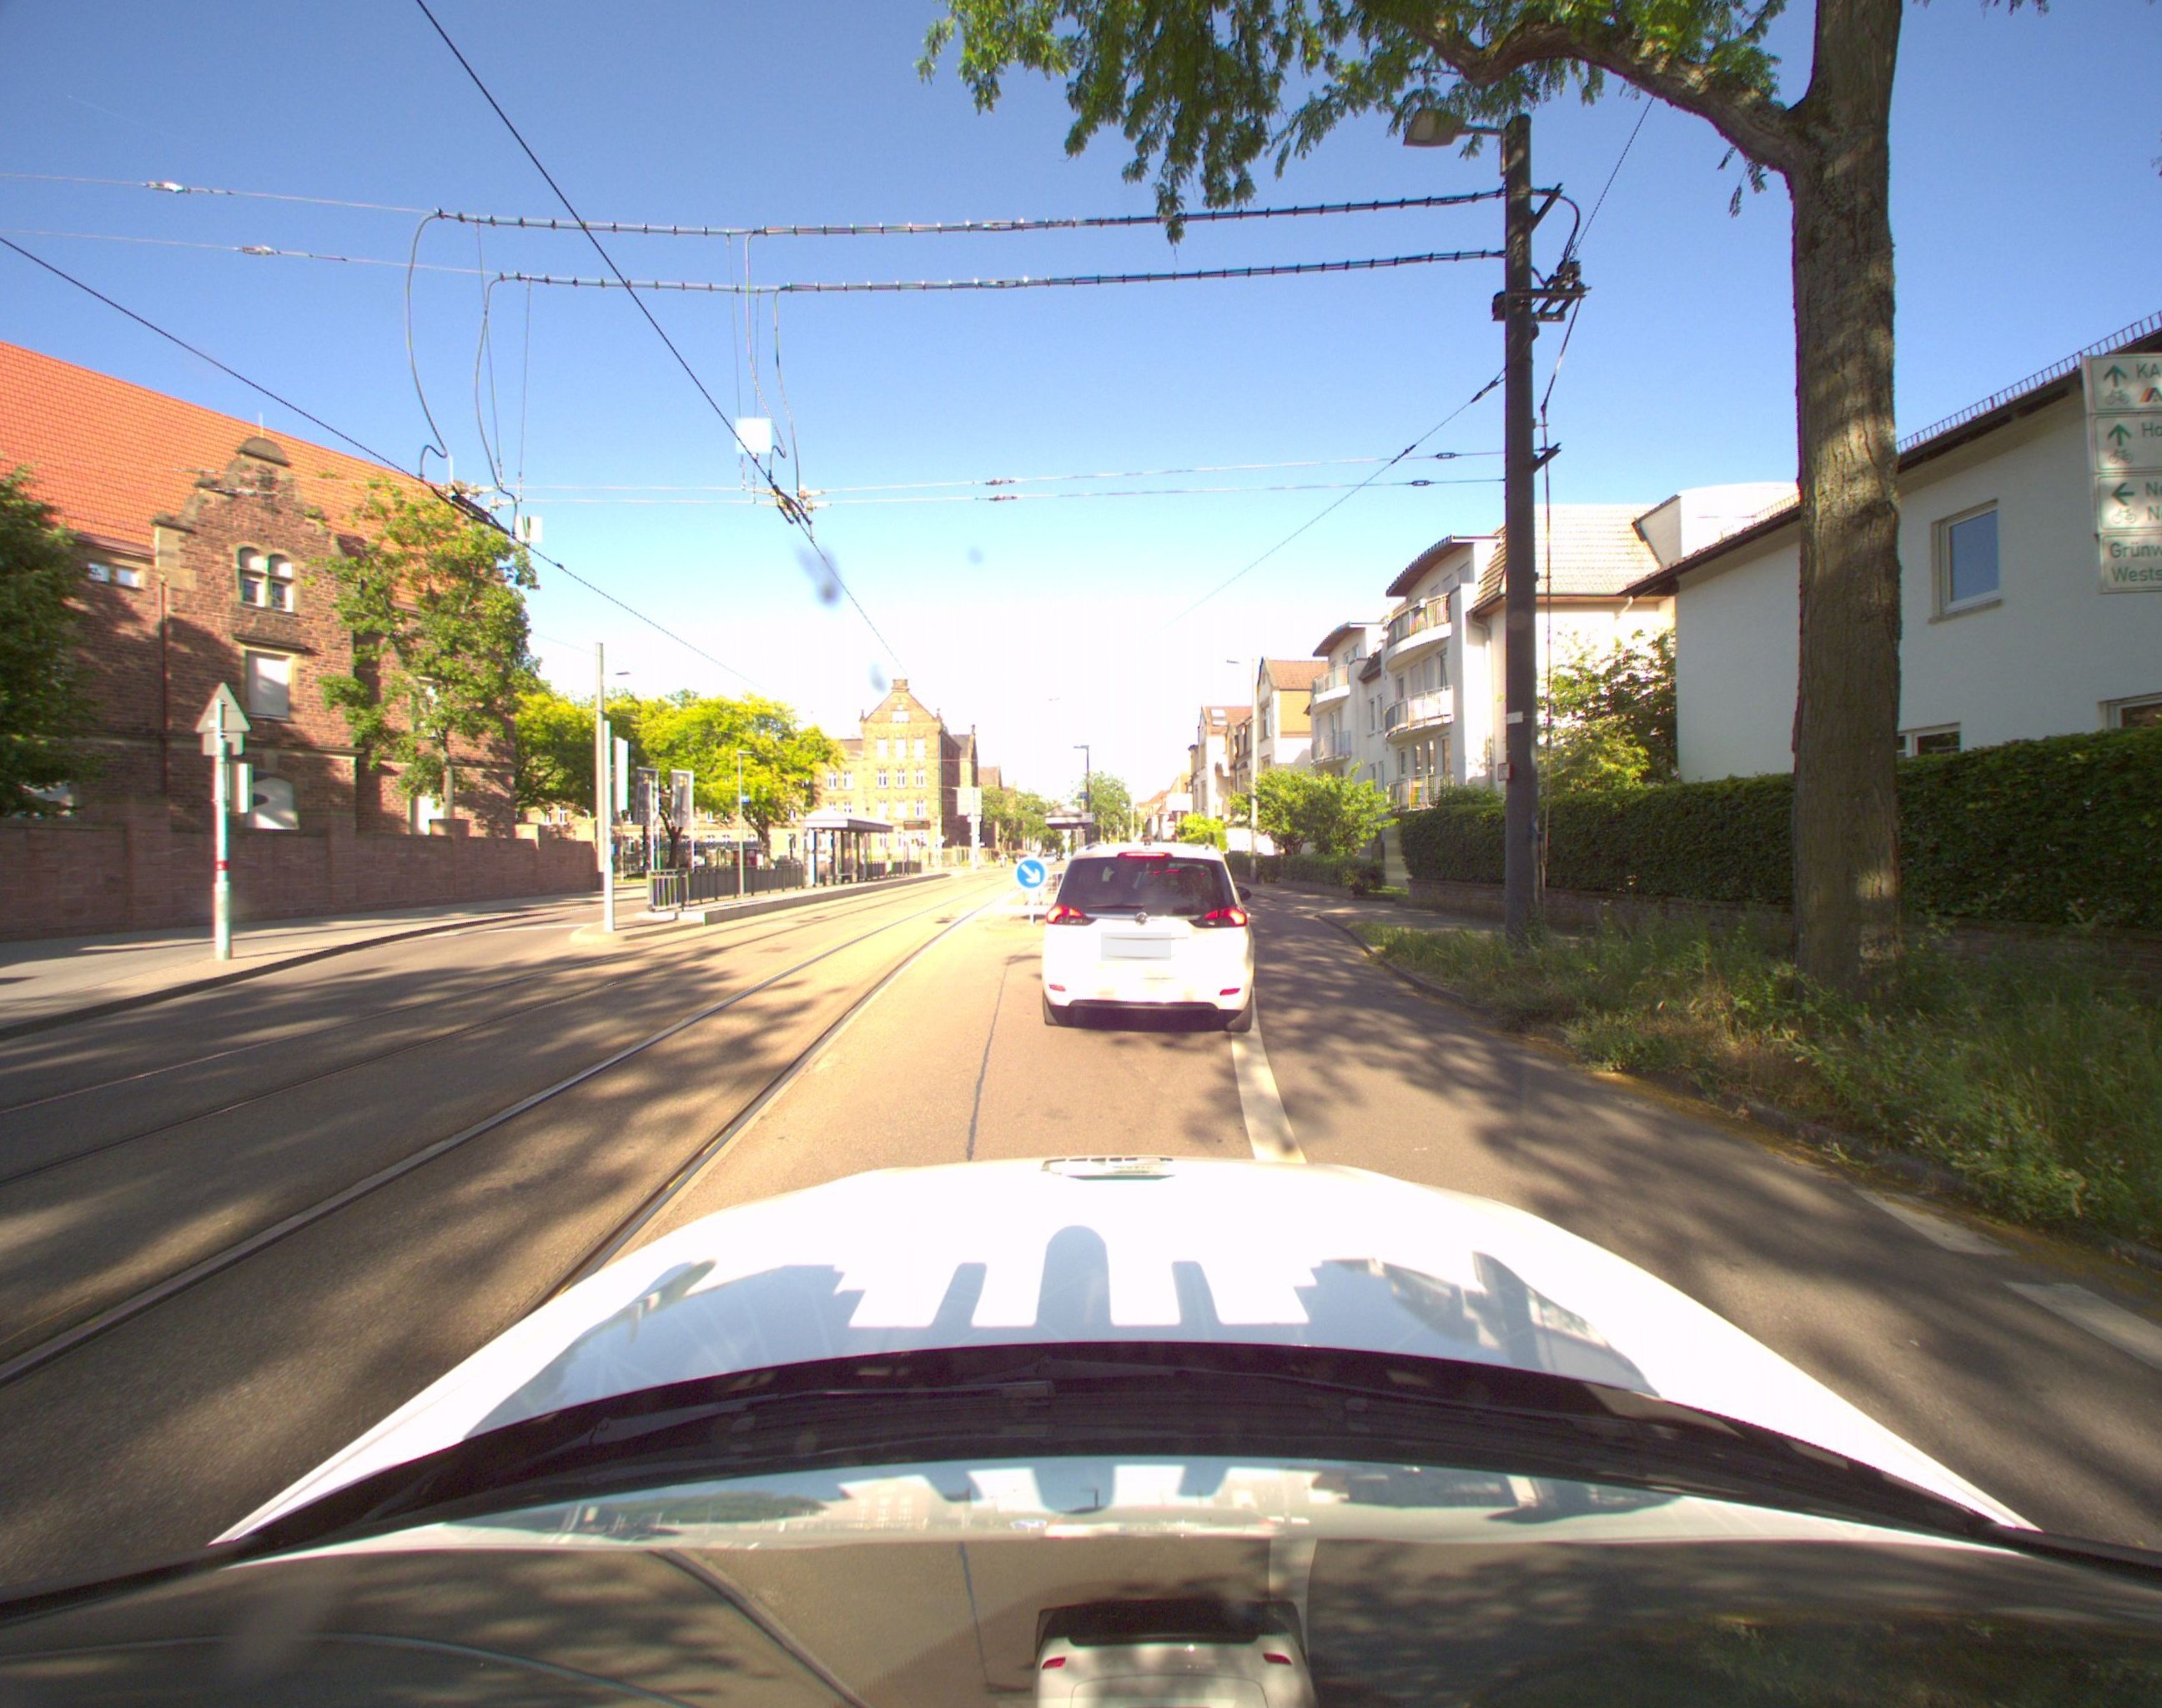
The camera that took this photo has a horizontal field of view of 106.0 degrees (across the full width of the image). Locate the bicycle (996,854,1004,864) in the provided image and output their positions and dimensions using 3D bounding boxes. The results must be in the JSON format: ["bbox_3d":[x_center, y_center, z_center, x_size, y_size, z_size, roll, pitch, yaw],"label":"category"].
[{"bbox_3d":[-10.274,0.594,103.702,0.819,1.297,2.676,-1,0,-1],"label":"bicycle"}]

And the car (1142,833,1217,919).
[{"bbox_3d":[2.638,0.520,21.153,1.698,2.013,3.917,-1,0,10],"label":"car"}]

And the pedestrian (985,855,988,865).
[{"bbox_3d":[-13.619,0.905,117.293,0.360,1.437,0.549,-1,0,2],"label":"pedestrian"}]

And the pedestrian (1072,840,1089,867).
[{"bbox_3d":[-0.029,-0.045,61.647,1.154,2.013,1.117,-2,2,-6],"label":"pedestrian"}]

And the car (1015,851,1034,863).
[{"bbox_3d":[-7.956,0.397,114.770,1.984,1.722,4.005,-1,0,4],"label":"car"}]

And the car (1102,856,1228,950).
[{"bbox_3d":[1.666,0.797,15.032,1.981,1.442,4.011,-1,0,9],"label":"car"}]

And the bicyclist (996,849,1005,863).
[{"bbox_3d":[-10.269,0.268,103.991,0.940,1.734,0.861,-1,0,-1],"label":"bicyclist"}]

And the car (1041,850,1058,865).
[{"bbox_3d":[-4.160,0.520,108.179,1.987,1.913,4.000,-1,-1,1],"label":"car"}]

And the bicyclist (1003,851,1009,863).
[{"bbox_3d":[-10.119,0.455,110.151,0.700,1.606,0.657,-1,0,-1],"label":"bicyclist"}]

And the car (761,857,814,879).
[{"bbox_3d":[-25.788,1.224,71.715,3.980,1.790,1.997,-1,-1,-5],"label":"car"}]

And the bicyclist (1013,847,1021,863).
[{"bbox_3d":[-8.333,0.097,106.531,0.948,2.013,0.822,-1,0,-4],"label":"bicyclist"}]

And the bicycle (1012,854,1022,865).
[{"bbox_3d":[-8.353,0.717,106.533,1.145,1.297,2.859,-1,0,-1],"label":"bicycle"}]

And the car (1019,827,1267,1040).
[{"bbox_3d":[0.753,0.683,8.389,1.882,1.611,4.237,-1,-2,8],"label":"car"}]

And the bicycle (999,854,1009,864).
[{"bbox_3d":[-10.368,0.663,110.240,1.145,1.297,2.859,-1,0,-1],"label":"bicycle"}]
